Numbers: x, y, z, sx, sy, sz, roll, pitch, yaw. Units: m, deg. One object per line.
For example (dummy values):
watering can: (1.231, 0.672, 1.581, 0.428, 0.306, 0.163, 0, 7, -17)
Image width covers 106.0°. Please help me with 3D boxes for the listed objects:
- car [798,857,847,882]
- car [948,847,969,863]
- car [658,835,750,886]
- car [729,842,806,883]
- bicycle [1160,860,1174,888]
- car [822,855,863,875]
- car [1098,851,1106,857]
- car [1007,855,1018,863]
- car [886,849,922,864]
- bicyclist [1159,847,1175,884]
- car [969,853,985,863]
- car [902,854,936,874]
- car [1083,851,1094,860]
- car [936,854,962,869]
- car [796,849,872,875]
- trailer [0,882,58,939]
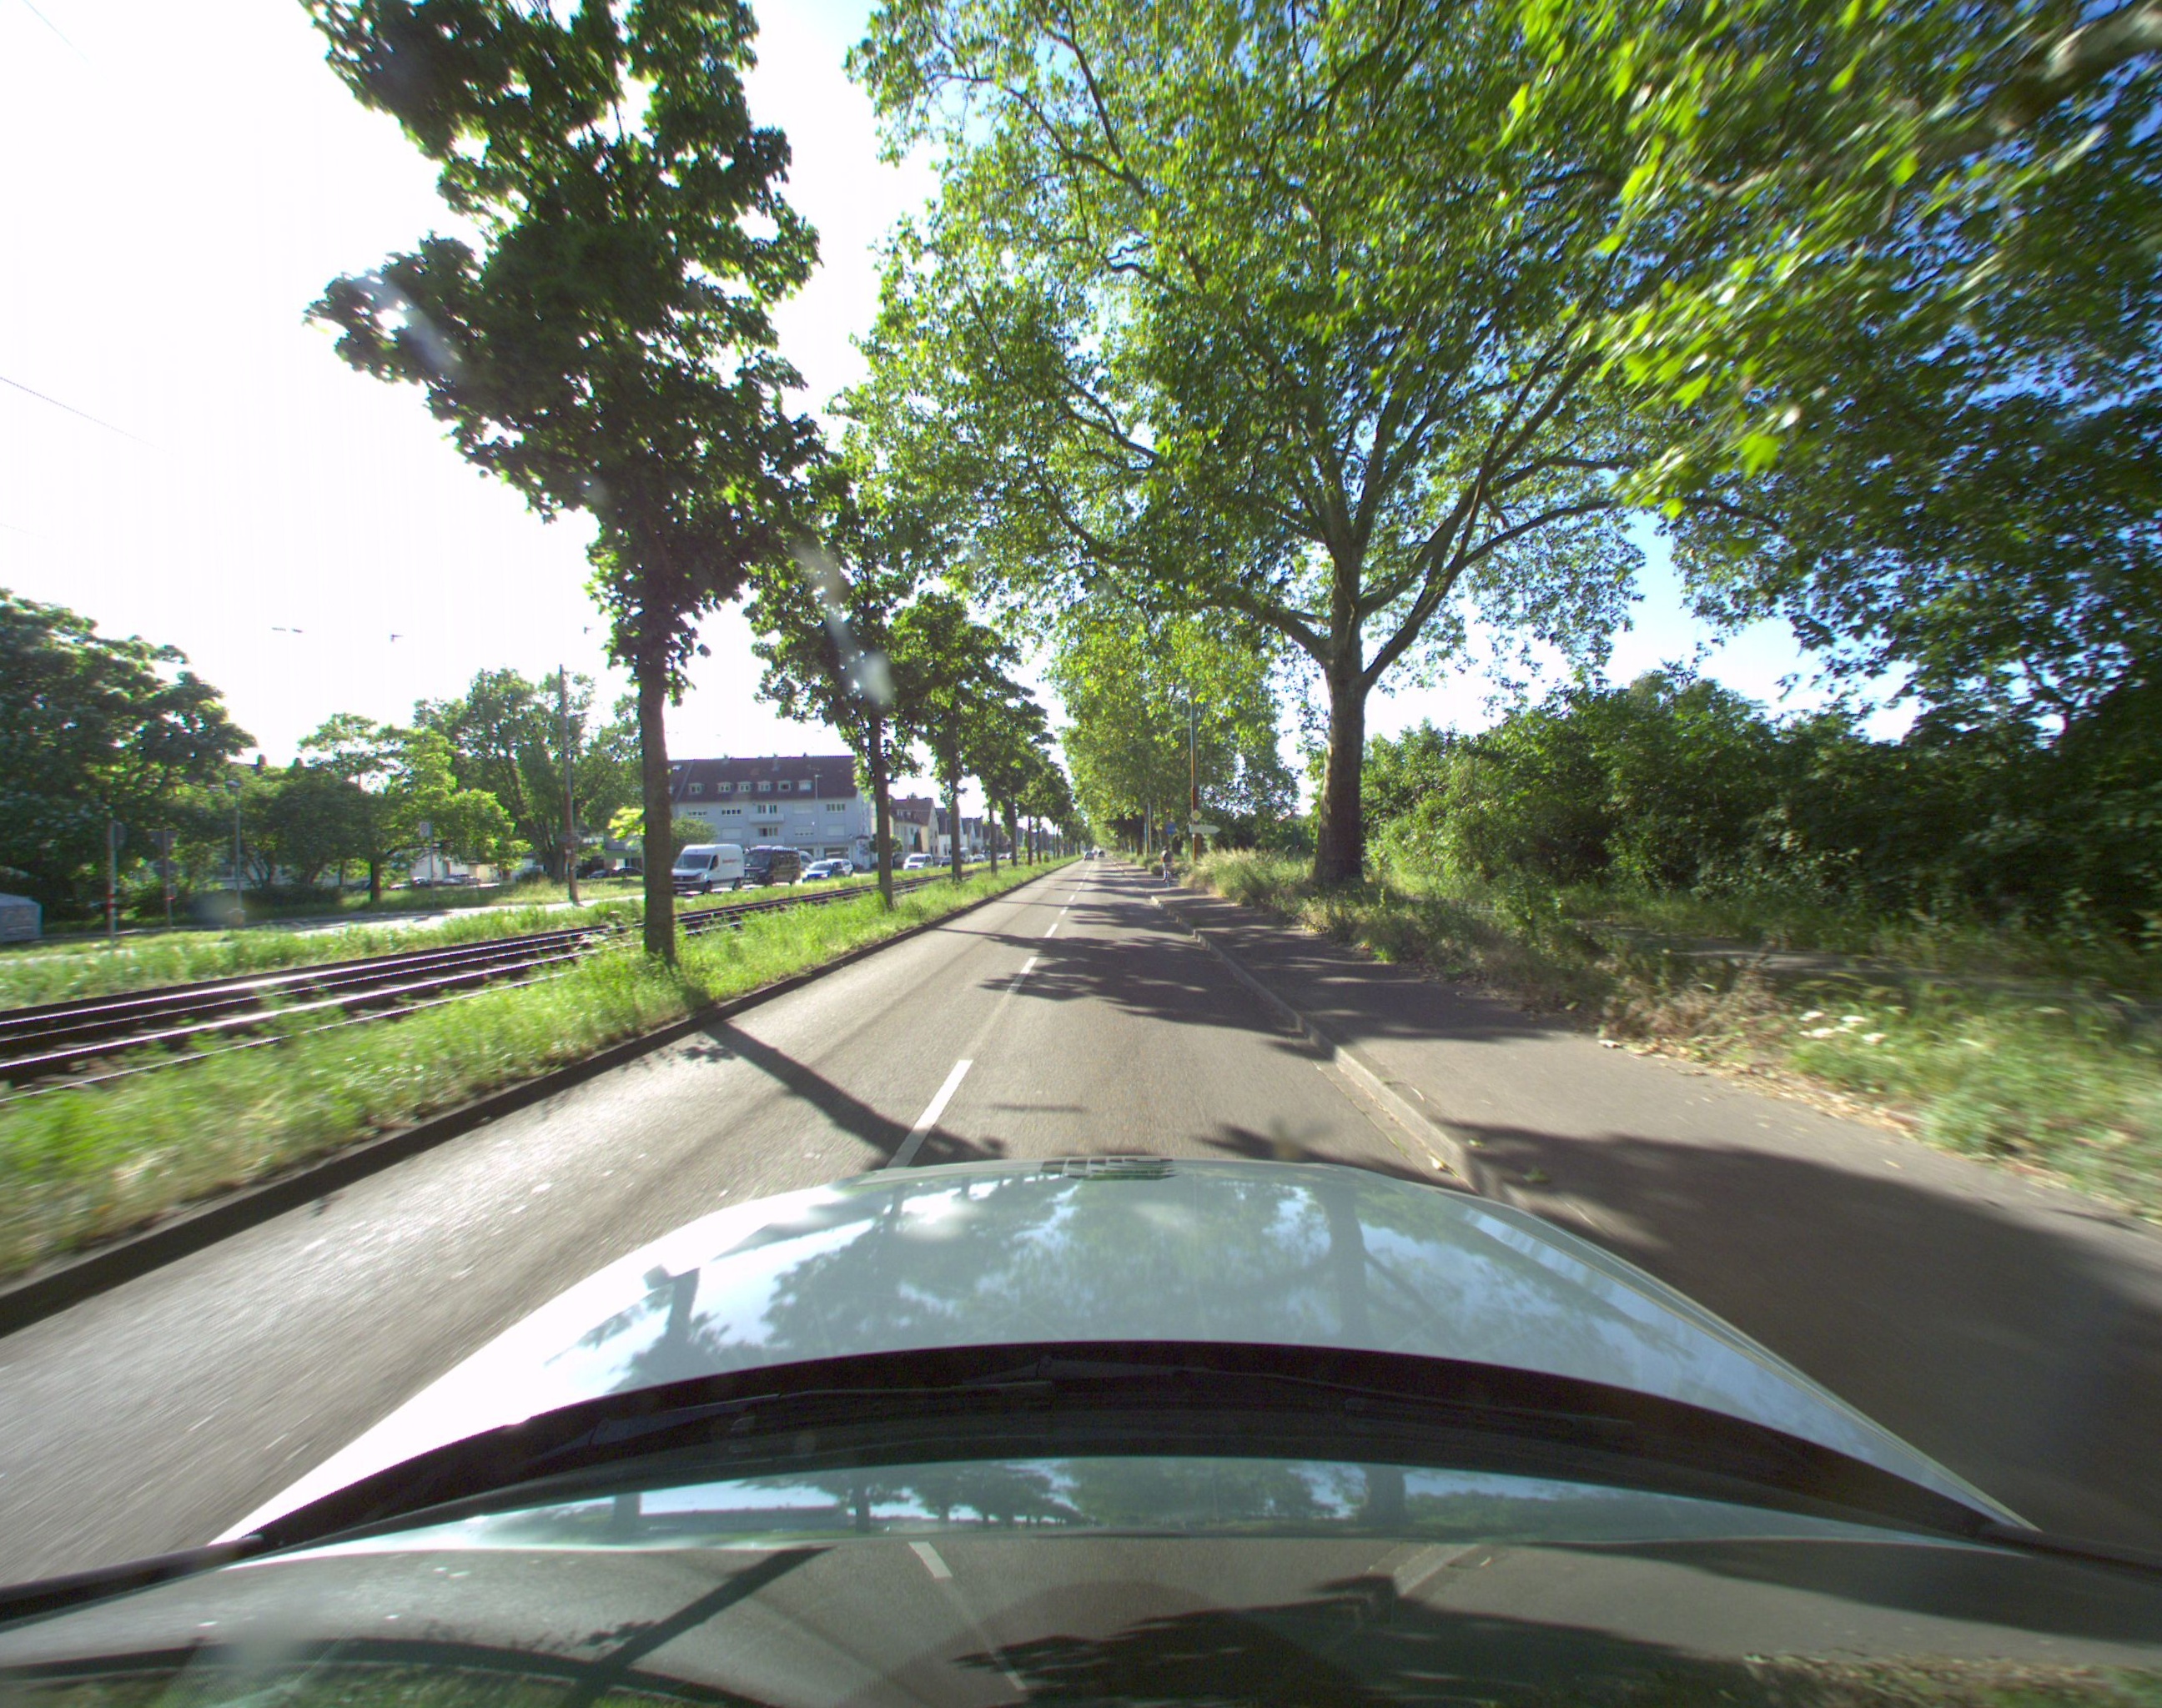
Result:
car: (-15.066, 0.894, 47.624, 1.551, 1.395, 3.821, 1, -1, 1)
car: (-18.508, 0.183, 123.433, 1.986, 2.459, 6.675, 1, -1, 1)
car: (-20.092, 0.361, 43.788, 1.995, 2.496, 6.137, 1, -1, 1)
car: (-19.703, 0.559, 51.543, 2.174, 2.376, 6.466, 1, -1, 1)
bicycle: (3.790, 0.867, 36.062, 0.438, 1.153, 1.823, -2, 0, 1)
car: (-19.477, 0.888, 66.793, 1.816, 1.607, 4.775, 1, -1, 2)
car: (4.967, 0.020, 190.588, 1.754, 1.513, 3.278, 1, -1, 2)
car: (-12.617, 0.965, 150.337, 1.670, 1.410, 4.001, -2, 0, 1)
car: (-23.769, 0.395, 109.621, 4.617, 1.945, 1.994, 0, 0, -10)
bicyclist: (3.794, 0.496, 36.032, 0.611, 1.628, 0.909, -2, 0, 1)
car: (-18.156, 0.706, 142.634, 1.986, 1.581, 4.500, 1, 0, 2)
car: (-14.369, 0.898, 72.537, 1.804, 1.744, 4.983, 1, -1, 1)
car: (1.220, 0.320, 131.942, 1.732, 1.401, 3.277, 1, -1, 1)
car: (-14.160, 0.763, 87.805, 1.985, 1.531, 3.753, -2, 0, 2)
car: (-25.339, 0.791, 83.733, 7.050, 2.507, 2.328, 1, 0, -4)
trailer: (-31.298, 1.685, 22.235, 3.759, 1.504, 1.743, -4, 1, -19)
